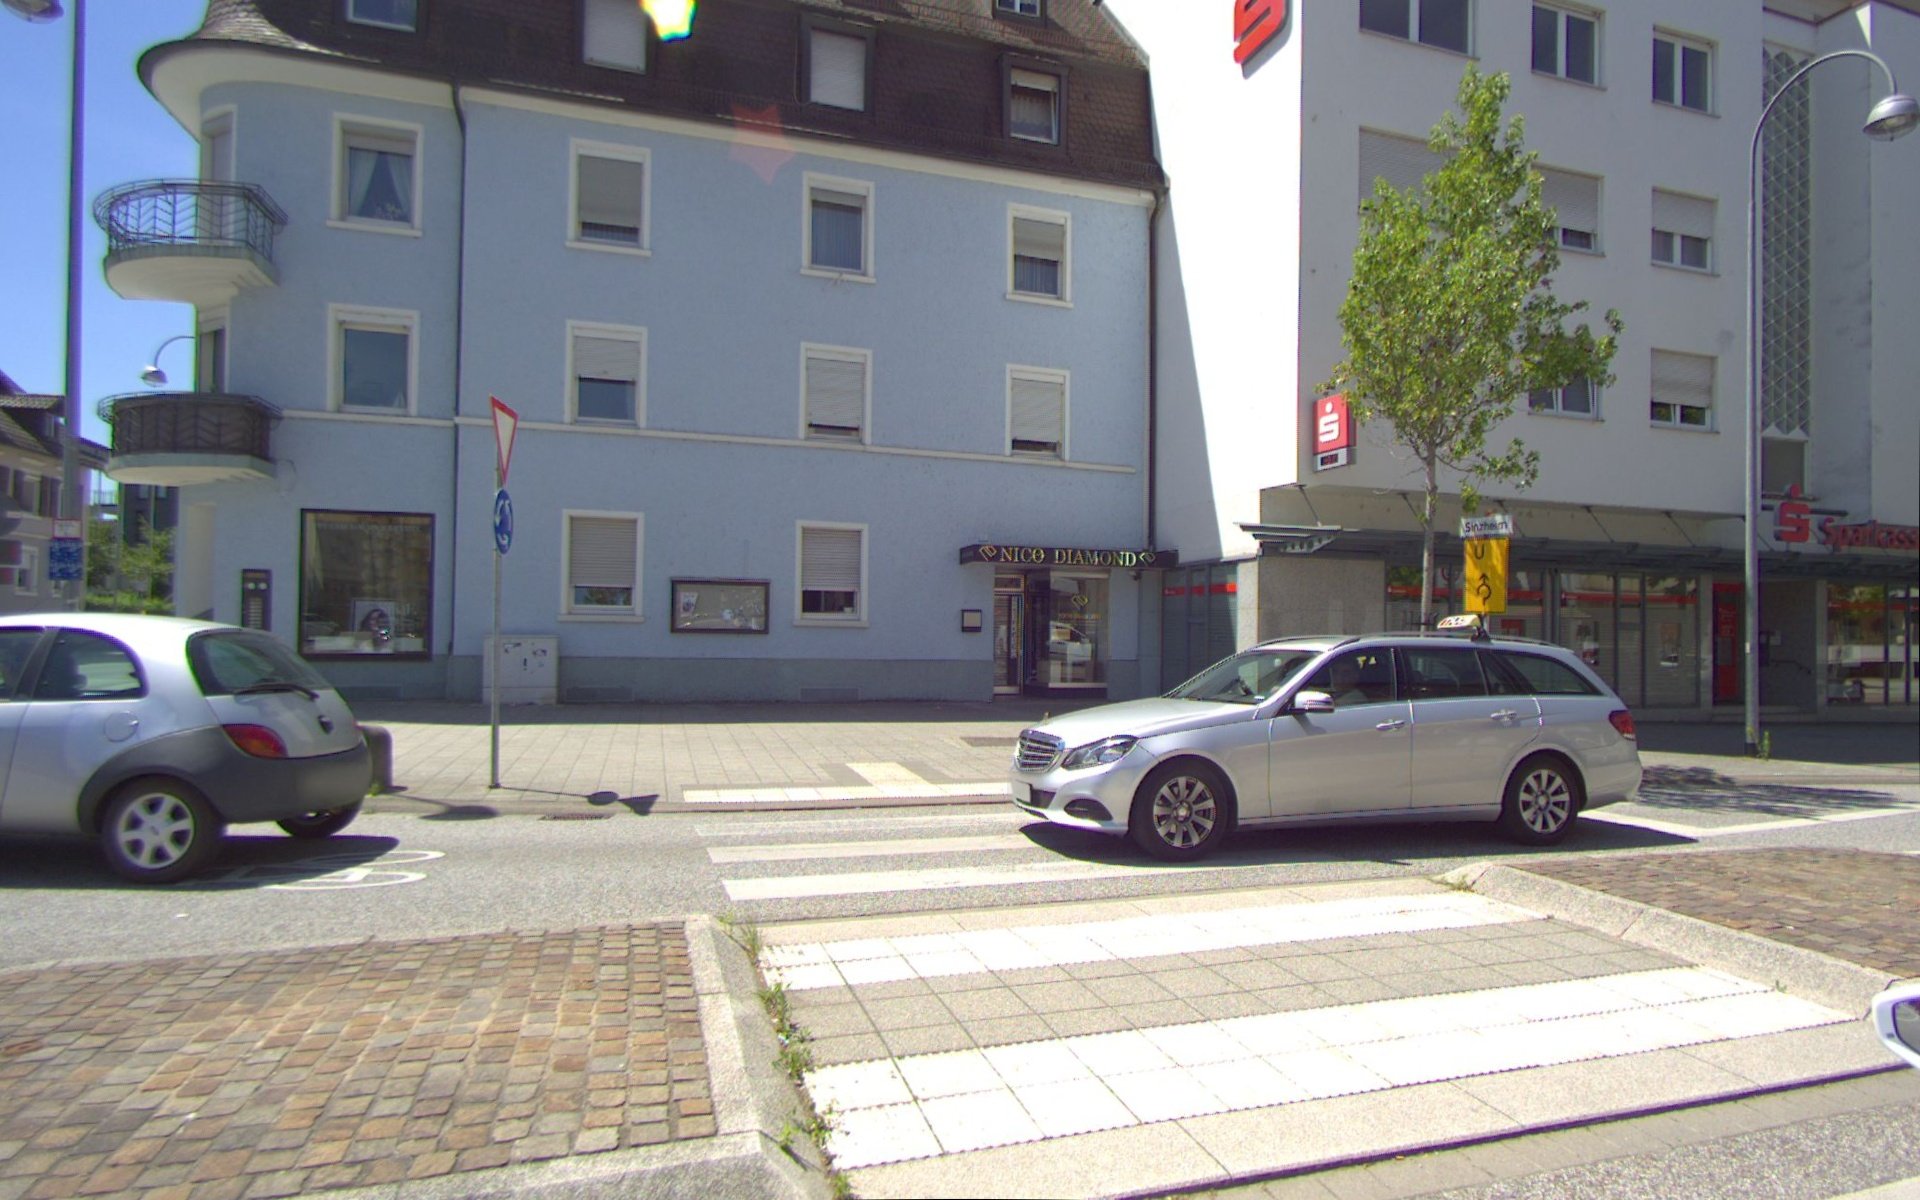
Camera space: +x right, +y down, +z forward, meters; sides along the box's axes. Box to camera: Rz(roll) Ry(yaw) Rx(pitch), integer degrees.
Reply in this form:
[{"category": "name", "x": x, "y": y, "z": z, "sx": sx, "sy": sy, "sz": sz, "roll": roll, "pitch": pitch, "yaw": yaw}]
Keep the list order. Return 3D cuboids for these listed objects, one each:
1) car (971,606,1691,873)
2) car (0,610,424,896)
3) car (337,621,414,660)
[{"category": "car", "x": 2.712, "y": 0.950, "z": 7.685, "sx": 4.915, "sy": 1.613, "sz": 1.995, "roll": 1, "pitch": -3, "yaw": -15}, {"category": "car", "x": -5.566, "y": 0.828, "z": 6.028, "sx": 3.717, "sy": 1.477, "sz": 1.704, "roll": 1, "pitch": -3, "yaw": -5}, {"category": "car", "x": -24.875, "y": 1.720, "z": 42.911, "sx": 1.654, "sy": 1.566, "sz": 3.938, "roll": 0, "pitch": -2, "yaw": -11}]
